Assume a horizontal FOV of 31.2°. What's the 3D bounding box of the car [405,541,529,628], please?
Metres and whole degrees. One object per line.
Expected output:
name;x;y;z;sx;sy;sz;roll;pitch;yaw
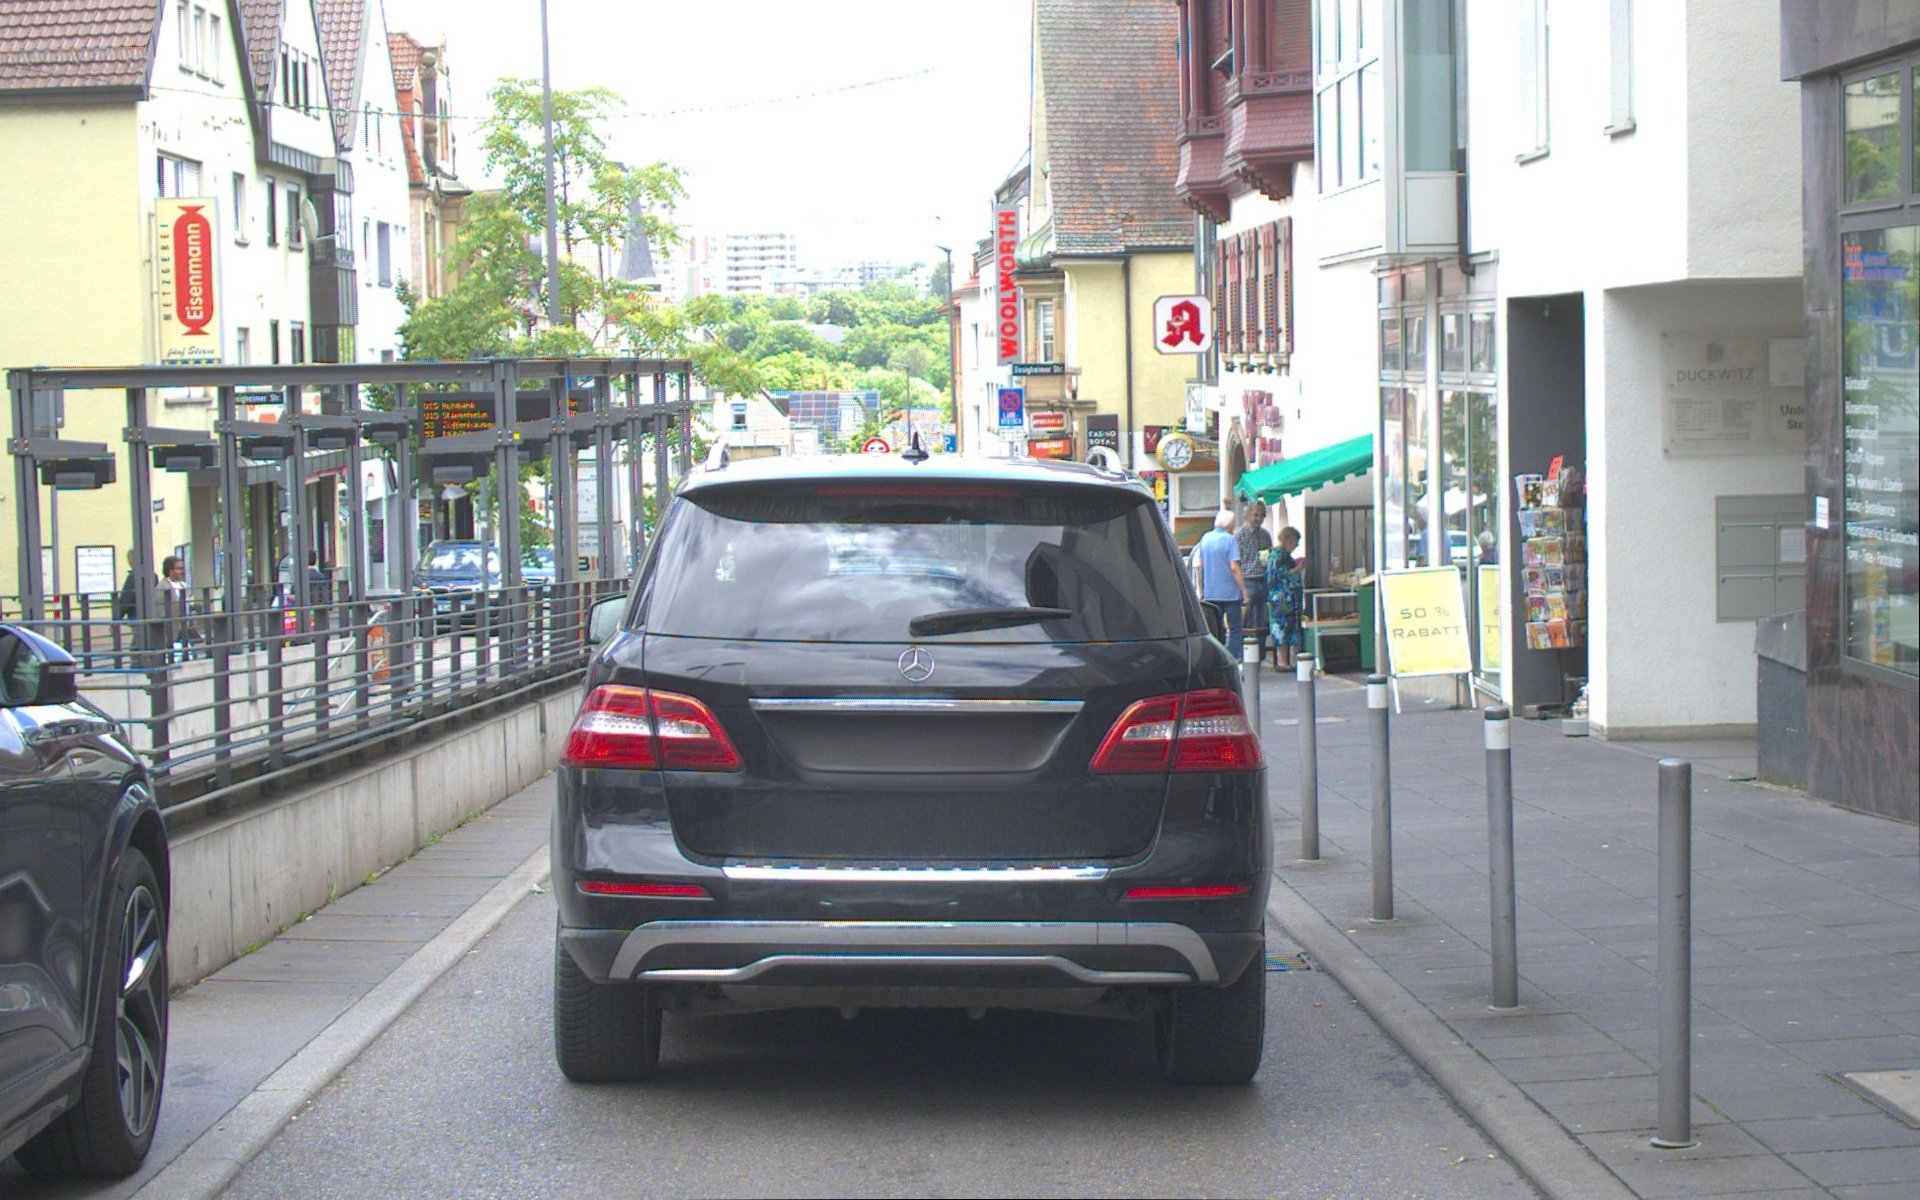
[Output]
car;-8.865;-0.301;62.072;1.689;1.485;3.979;1;1;-1

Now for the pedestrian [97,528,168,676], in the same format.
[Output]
pedestrian;-9.493;0.019;39.435;0.612;1.683;0.563;0;1;-34

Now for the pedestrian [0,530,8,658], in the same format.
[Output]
pedestrian;-10.841;-0.065;38.052;0.456;1.416;0.533;1;1;-2

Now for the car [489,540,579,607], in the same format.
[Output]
car;-9.781;-0.635;79.131;1.660;1.485;3.748;1;1;-1

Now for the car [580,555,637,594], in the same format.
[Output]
car;-10.396;-0.763;101.869;1.388;1.066;3.113;-1;1;-1

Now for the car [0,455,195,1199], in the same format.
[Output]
car;-2.753;0.540;6.132;1.956;1.634;4.315;1;1;-2

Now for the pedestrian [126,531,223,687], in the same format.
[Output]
pedestrian;-8.624;0.087;37.752;0.726;1.683;0.767;1;1;20

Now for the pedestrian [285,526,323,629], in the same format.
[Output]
pedestrian;-10.908;-0.377;57.162;0.513;1.683;0.541;1;1;-2

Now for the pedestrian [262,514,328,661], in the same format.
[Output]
pedestrian;-7.711;-0.150;39.882;0.625;1.683;0.679;1;1;-2

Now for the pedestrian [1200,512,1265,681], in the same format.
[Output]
pedestrian;2.814;-0.045;35.491;0.542;1.720;0.528;-1;1;-7

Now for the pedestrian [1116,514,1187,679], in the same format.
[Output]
pedestrian;1.986;-0.040;35.688;0.621;1.683;0.566;1;1;-7

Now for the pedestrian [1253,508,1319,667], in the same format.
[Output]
pedestrian;3.484;-0.140;36.779;0.573;1.683;0.566;-1;1;-7

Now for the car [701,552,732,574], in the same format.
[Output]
car;-12.438;-1.901;175.468;1.388;1.066;3.113;-1;1;-1

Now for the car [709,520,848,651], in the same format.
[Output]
car;-2.459;-0.226;47.342;1.770;1.707;4.000;1;1;-2

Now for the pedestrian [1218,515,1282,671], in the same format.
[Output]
pedestrian;3.183;-0.082;37.756;0.573;1.683;0.566;-1;1;-7

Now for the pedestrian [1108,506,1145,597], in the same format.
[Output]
pedestrian;3.147;-0.915;64.920;0.606;1.683;0.724;-1;1;-1

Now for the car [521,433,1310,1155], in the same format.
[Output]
car;-0.204;0.445;10.389;1.900;1.741;4.001;1;1;-3
